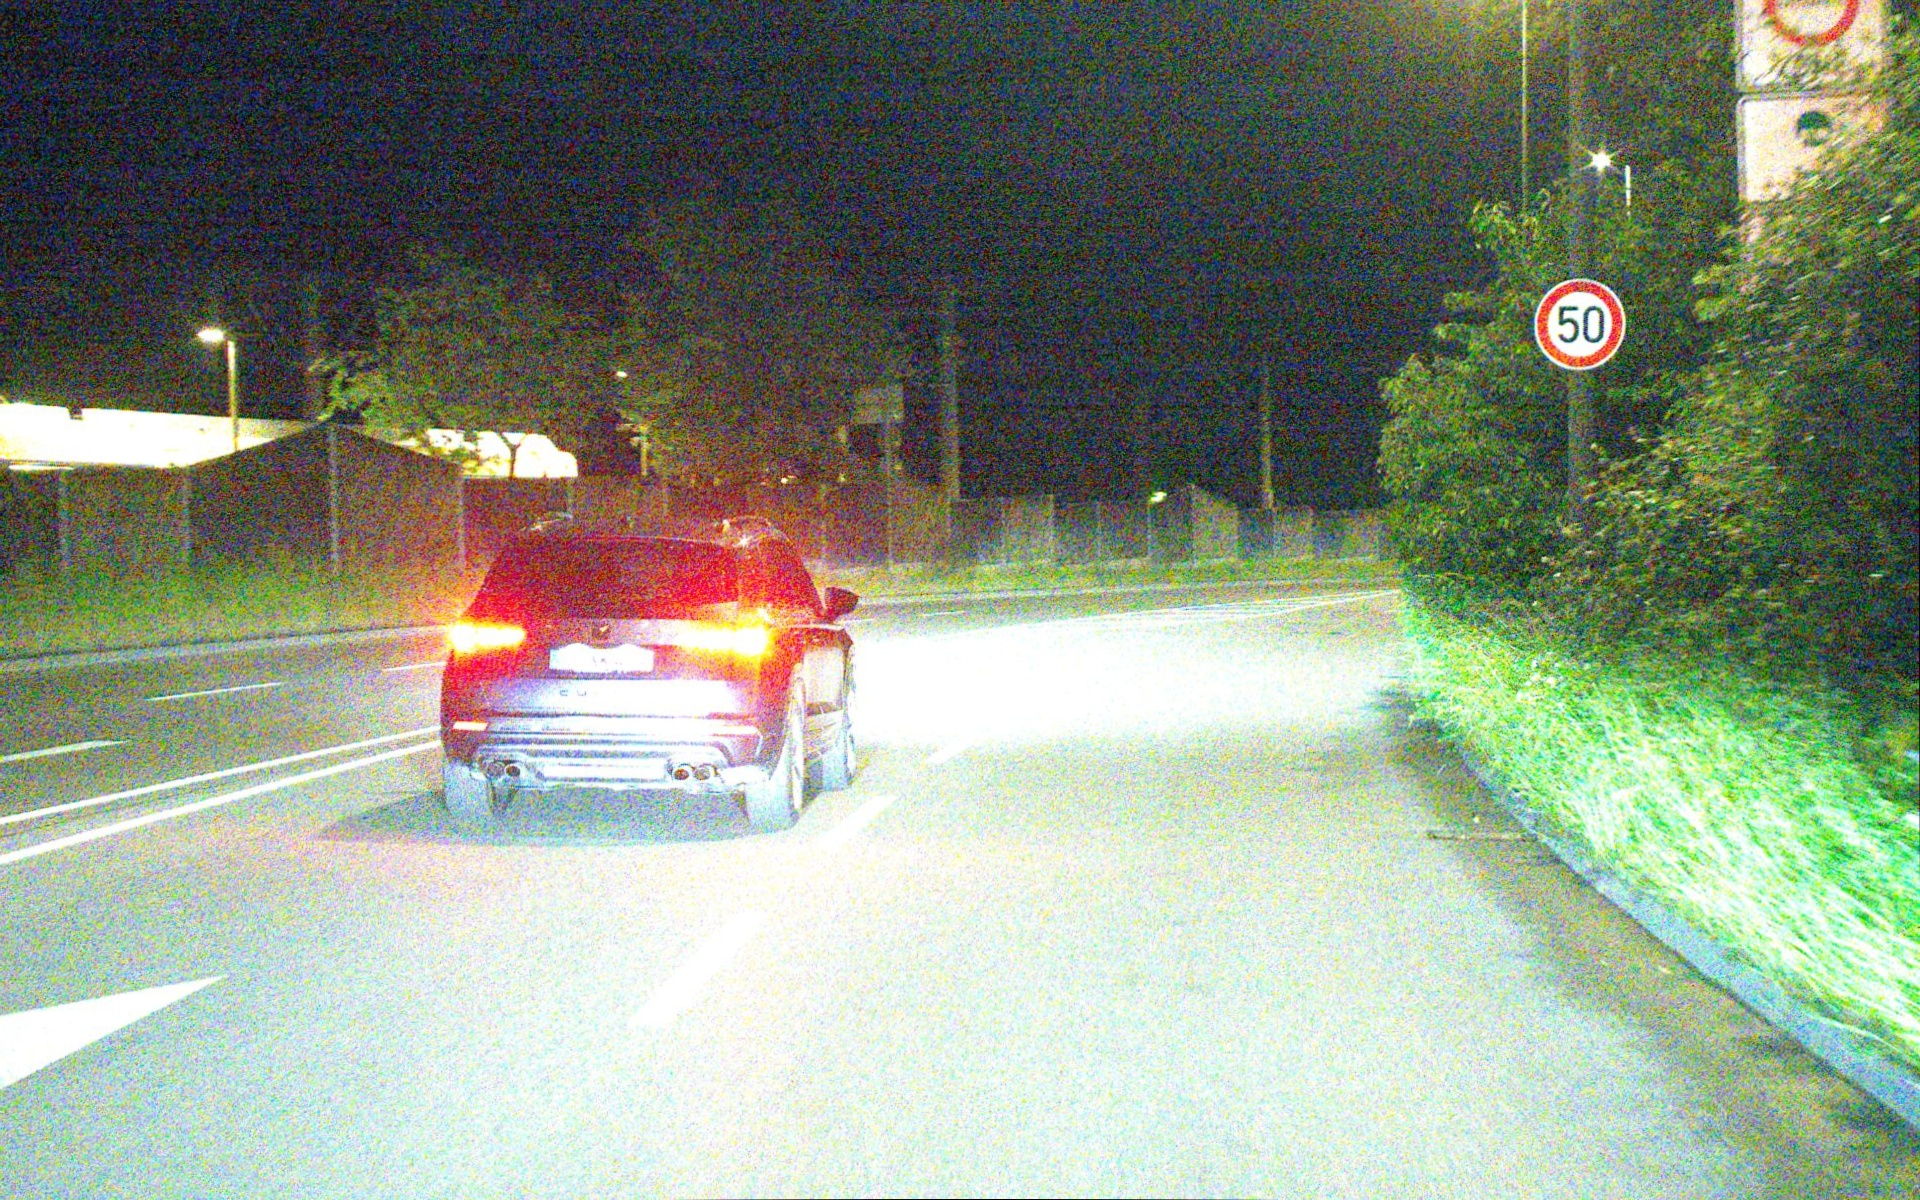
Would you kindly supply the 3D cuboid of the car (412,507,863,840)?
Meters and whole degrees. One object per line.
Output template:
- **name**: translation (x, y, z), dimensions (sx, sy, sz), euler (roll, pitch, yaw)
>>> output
- **car**: translation (-1.628, 0.316, 18.680), dimensions (1.815, 1.568, 3.943), euler (1, 1, 4)
